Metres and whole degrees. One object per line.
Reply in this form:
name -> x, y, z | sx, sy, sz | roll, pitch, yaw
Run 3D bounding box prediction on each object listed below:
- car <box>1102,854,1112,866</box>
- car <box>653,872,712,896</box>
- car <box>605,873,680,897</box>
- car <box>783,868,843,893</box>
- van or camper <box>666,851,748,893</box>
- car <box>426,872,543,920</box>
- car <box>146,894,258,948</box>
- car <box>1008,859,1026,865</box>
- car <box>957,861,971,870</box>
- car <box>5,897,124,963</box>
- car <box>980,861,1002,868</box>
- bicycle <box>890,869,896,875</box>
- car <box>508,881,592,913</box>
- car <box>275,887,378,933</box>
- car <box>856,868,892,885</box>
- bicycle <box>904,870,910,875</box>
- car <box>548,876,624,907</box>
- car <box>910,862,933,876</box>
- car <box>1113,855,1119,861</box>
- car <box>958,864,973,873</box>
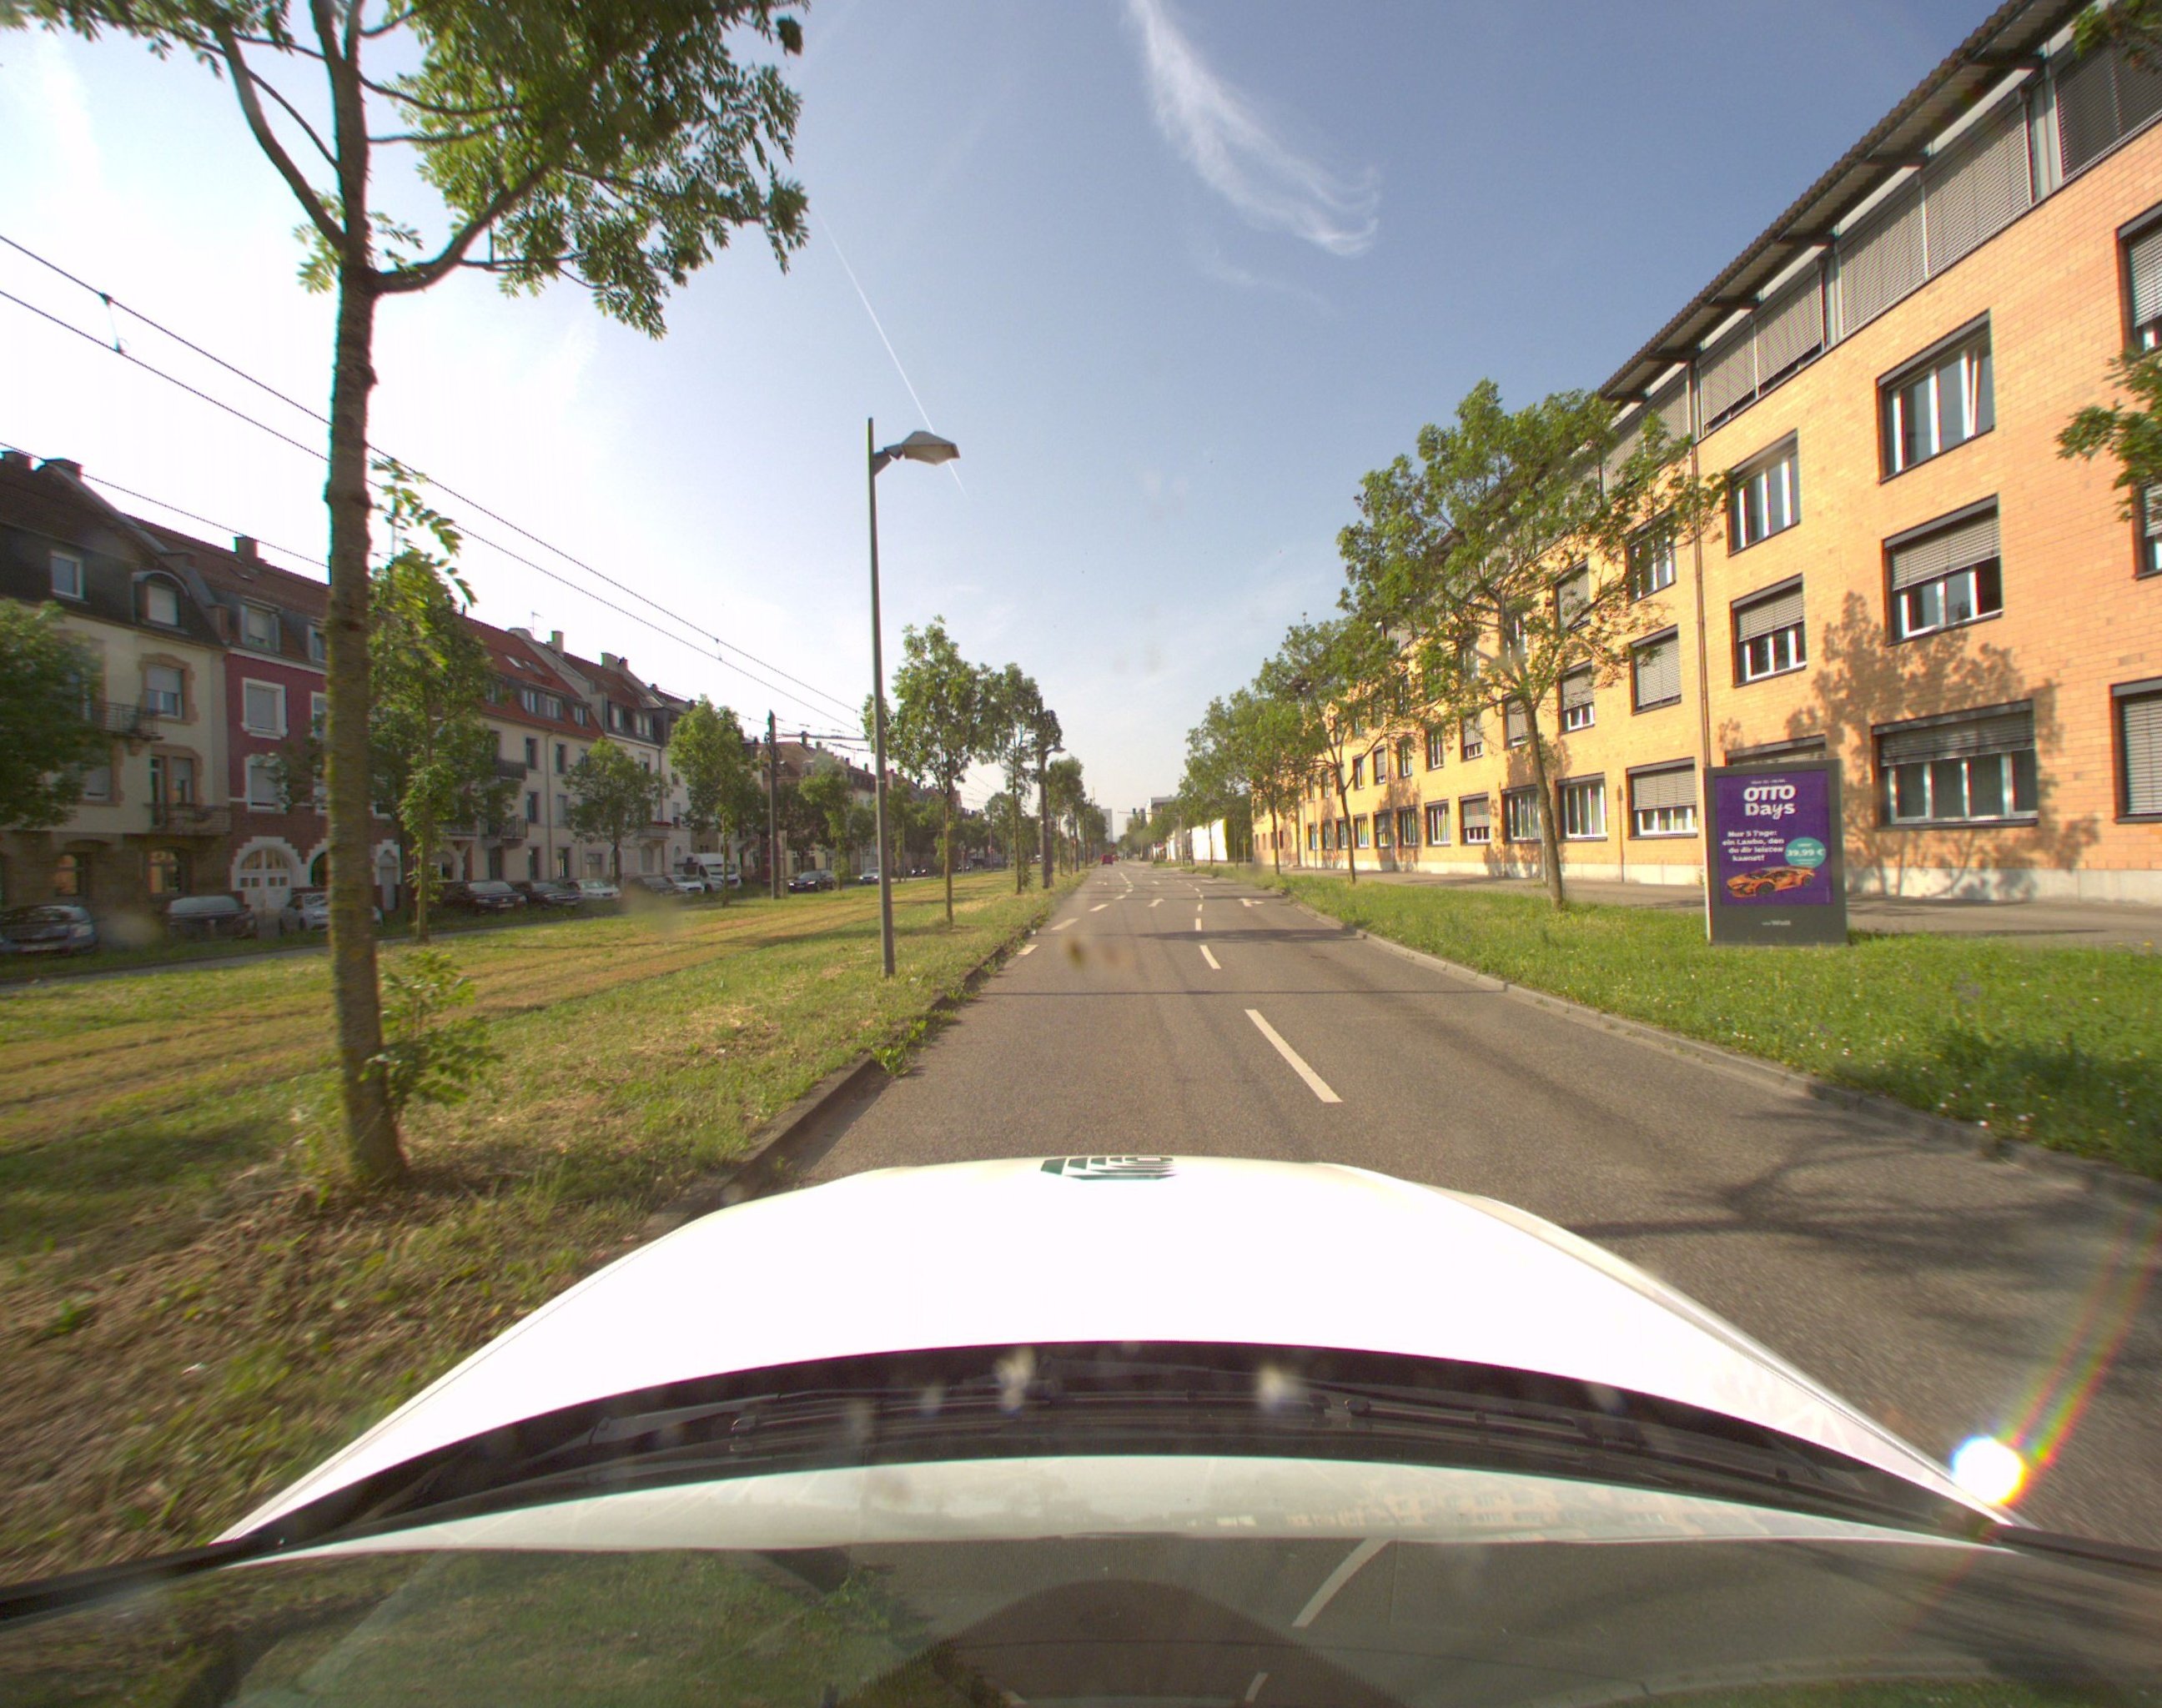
car -> 4.452, 1.089, 138.325 | 1.741, 2.014, 3.217 | 0, -1, 2
car -> -24.065, 1.801, 49.183 | 3.639, 1.332, 1.673 | 0, -1, 36
car -> -24.565, 1.713, 45.687 | 3.644, 1.241, 1.670 | 0, -1, 20
car -> -18.070, 1.752, 55.144 | 1.985, 1.630, 5.384 | 0, -1, 3
van or camper -> -24.166, 1.153, 52.512 | 5.849, 2.573, 2.213 | 0, -1, 36
car -> -24.290, 1.706, 33.135 | 4.590, 1.743, 1.845 | -3, 0, 26
car -> -24.623, 1.830, 22.796 | 3.639, 1.241, 1.673 | 0, 0, 35
car -> -18.305, 2.341, 233.324 | 5.258, 1.738, 2.013 | 0, -1, 35
car -> -22.355, 2.119, 155.623 | 1.987, 1.628, 4.774 | 0, 0, 0
car -> -24.434, 1.759, 19.553 | 3.639, 1.241, 1.536 | 0, 1, 35
car -> -19.001, 2.296, 171.801 | 4.419, 1.419, 1.987 | 0, -1, 39
bicycle -> -26.728, 2.593, 115.749 | 0.436, 0.789, 1.947 | 0, -1, 0
car -> -23.221, 1.840, 35.592 | 3.639, 1.241, 1.672 | 0, -1, 31
car -> -23.725, 1.717, 25.595 | 3.639, 1.241, 1.673 | 0, -1, 36
car -> -18.088, 1.952, 71.355 | 1.941, 1.459, 4.648 | 0, -1, 1
bicycle -> -26.218, 2.793, 122.619 | 0.446, 0.857, 1.947 | 0, -1, 0
car -> -23.711, 1.763, 38.977 | 3.963, 1.316, 1.673 | 0, -1, 36
car -> -19.085, 1.809, 97.646 | 1.757, 1.655, 4.001 | 0, -1, 2
car -> 9.735, 1.063, 224.995 | 1.741, 1.650, 3.217 | 0, -1, 2
car -> -18.657, 2.315, 131.289 | 1.806, 1.433, 3.926 | 0, -1, 1
